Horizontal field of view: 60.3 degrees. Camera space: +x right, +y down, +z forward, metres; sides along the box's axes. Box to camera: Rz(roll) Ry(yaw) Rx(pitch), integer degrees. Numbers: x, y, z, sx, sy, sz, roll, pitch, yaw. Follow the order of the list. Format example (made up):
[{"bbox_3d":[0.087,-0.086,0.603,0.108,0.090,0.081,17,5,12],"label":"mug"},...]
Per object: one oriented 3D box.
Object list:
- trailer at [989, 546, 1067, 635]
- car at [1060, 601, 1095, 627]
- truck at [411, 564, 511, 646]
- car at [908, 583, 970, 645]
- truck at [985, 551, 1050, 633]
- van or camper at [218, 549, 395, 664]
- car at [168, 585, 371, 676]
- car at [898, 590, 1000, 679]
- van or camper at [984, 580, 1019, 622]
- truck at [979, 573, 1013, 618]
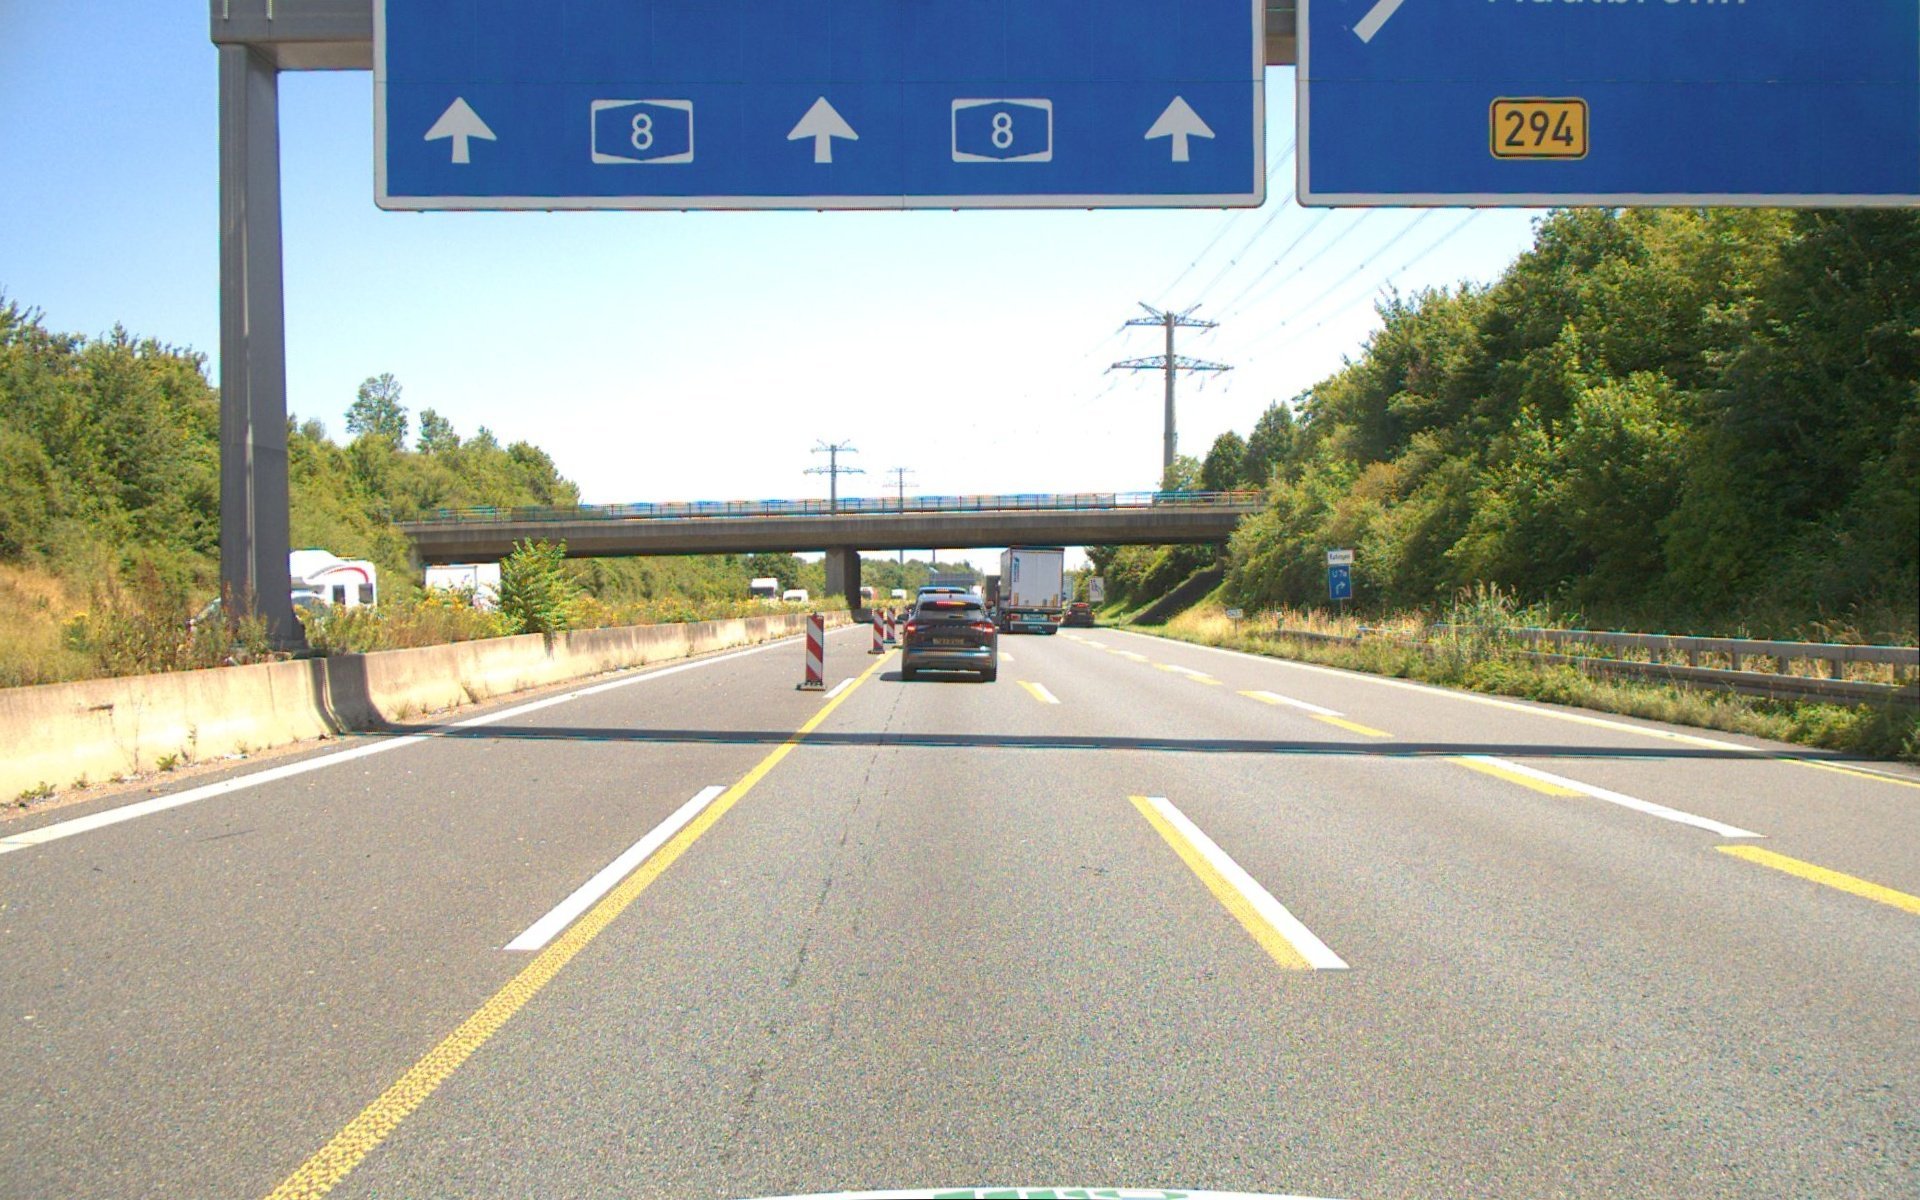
[{"bbox_3d":[3.248,-0.463,82.348,3.003,4.113,11.483,0,0,-2],"label":"trailer"},{"bbox_3d":[7.181,0.833,101.367,1.743,1.515,4.463,1,0,-1],"label":"car"},{"bbox_3d":[-21.417,0.205,71.298,2.444,3.316,6.363,-1,0,-1],"label":"truck"},{"bbox_3d":[-0.699,0.438,52.739,1.857,1.874,4.441,1,-1,-2],"label":"car"},{"bbox_3d":[3.011,-0.432,89.142,2.964,4.159,7.792,1,0,-2],"label":"truck"},{"bbox_3d":[-19.504,0.180,49.895,2.386,3.202,7.625,-1,0,-1],"label":"van or camper"},{"bbox_3d":[-12.406,0.511,30.032,1.871,1.481,4.355,1,0,-1],"label":"car"},{"bbox_3d":[-0.260,0.613,32.306,1.857,1.620,4.441,0,0,-2],"label":"car"},{"bbox_3d":[3.111,0.072,125.158,2.533,3.020,6.084,-1,0,0],"label":"van or camper"},{"bbox_3d":[3.426,-0.421,161.314,3.014,4.219,13.054,1,0,0],"label":"truck"}]
